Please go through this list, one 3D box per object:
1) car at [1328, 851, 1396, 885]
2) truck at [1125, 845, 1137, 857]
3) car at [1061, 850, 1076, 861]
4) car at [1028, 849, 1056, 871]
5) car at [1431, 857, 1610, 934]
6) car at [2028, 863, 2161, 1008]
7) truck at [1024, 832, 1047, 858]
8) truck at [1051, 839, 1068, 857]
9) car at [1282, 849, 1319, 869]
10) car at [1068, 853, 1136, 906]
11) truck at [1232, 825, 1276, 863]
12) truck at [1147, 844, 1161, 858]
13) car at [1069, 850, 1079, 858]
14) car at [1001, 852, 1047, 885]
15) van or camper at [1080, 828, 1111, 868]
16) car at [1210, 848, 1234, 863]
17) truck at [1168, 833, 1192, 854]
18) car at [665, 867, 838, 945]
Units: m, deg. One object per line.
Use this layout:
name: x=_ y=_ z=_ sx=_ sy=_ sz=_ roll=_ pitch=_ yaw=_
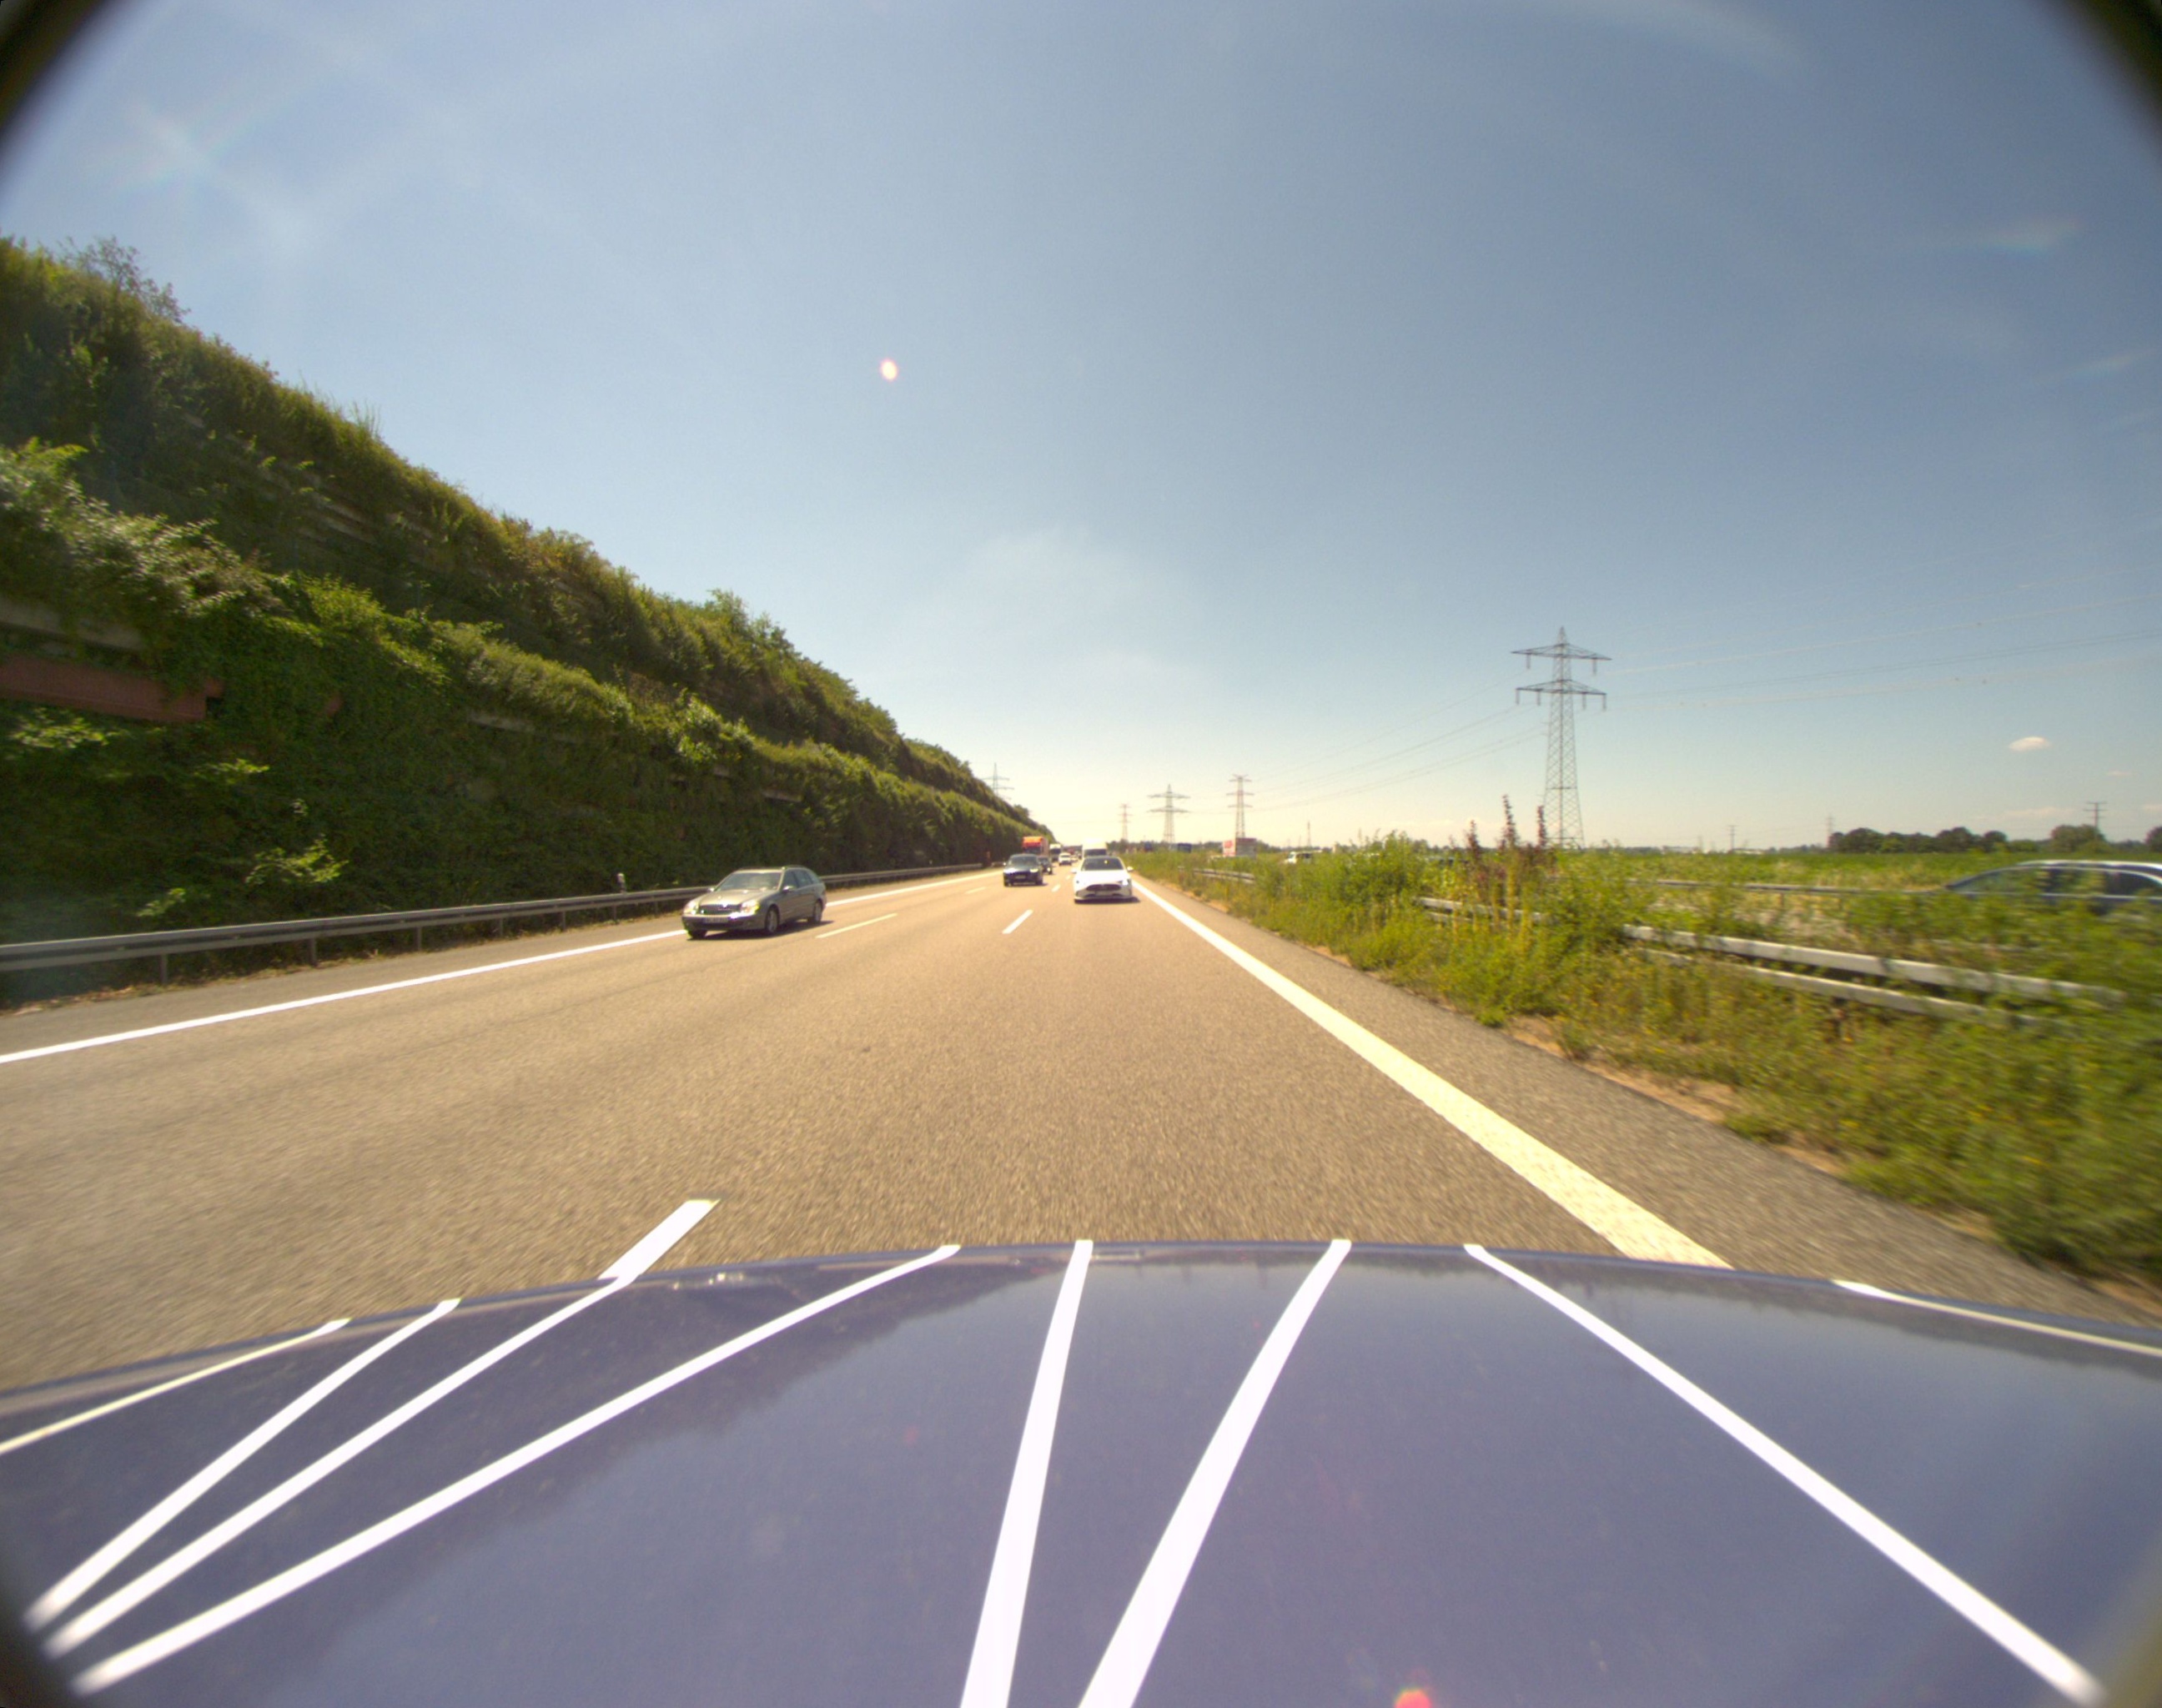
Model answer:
car: x=14.433 y=0.680 z=39.288 sx=1.866 sy=1.644 sz=4.558 roll=-1 pitch=0 yaw=1
truck: x=17.175 y=-1.129 z=260.595 sx=3.215 sy=4.060 sz=9.646 roll=0 pitch=1 yaw=0
car: x=-1.781 y=0.258 z=108.807 sx=1.984 sy=1.525 sz=4.137 roll=-1 pitch=0 yaw=1
car: x=-3.205 y=0.475 z=62.803 sx=1.984 sy=1.671 sz=4.558 roll=-1 pitch=0 yaw=1
car: x=10.659 y=0.917 z=18.896 sx=1.866 sy=1.644 sz=4.558 roll=-1 pitch=0 yaw=1
car: x=13.395 y=0.953 z=7.726 sx=1.866 sy=1.644 sz=4.558 roll=-1 pitch=0 yaw=1
truck: x=-5.969 y=-1.171 z=101.155 sx=2.581 sy=3.204 sz=5.713 roll=-2 pitch=1 yaw=0
truck: x=-4.668 y=-1.399 z=167.204 sx=3.507 sy=3.891 sz=9.646 roll=0 pitch=1 yaw=0
car: x=18.694 y=0.373 z=64.914 sx=1.866 sy=1.644 sz=4.558 roll=-1 pitch=0 yaw=1
car: x=0.661 y=0.775 z=25.259 sx=1.984 sy=1.525 sz=4.558 roll=-2 pitch=0 yaw=1
truck: x=19.425 y=-1.129 z=86.038 sx=3.214 sy=4.060 sz=9.649 roll=0 pitch=1 yaw=3
truck: x=22.059 y=-0.899 z=229.644 sx=3.215 sy=4.060 sz=9.646 roll=0 pitch=1 yaw=0
car: x=-1.366 y=0.007 z=150.877 sx=1.984 sy=1.525 sz=4.137 roll=-1 pitch=0 yaw=1
car: x=-2.983 y=0.726 z=40.605 sx=1.984 sy=1.671 sz=4.558 roll=-1 pitch=0 yaw=1
van or camper: x=1.103 y=-0.412 z=55.650 sx=1.998 sy=2.741 sz=5.410 roll=-2 pitch=1 yaw=3
car: x=15.854 y=0.146 z=85.442 sx=1.866 sy=1.644 sz=4.558 roll=-1 pitch=0 yaw=0
truck: x=19.694 y=-2.076 z=151.601 sx=3.507 sy=4.060 sz=9.646 roll=0 pitch=1 yaw=0
car: x=-7.227 y=1.062 z=17.265 sx=1.840 sy=1.403 sz=4.558 roll=-2 pitch=0 yaw=1
